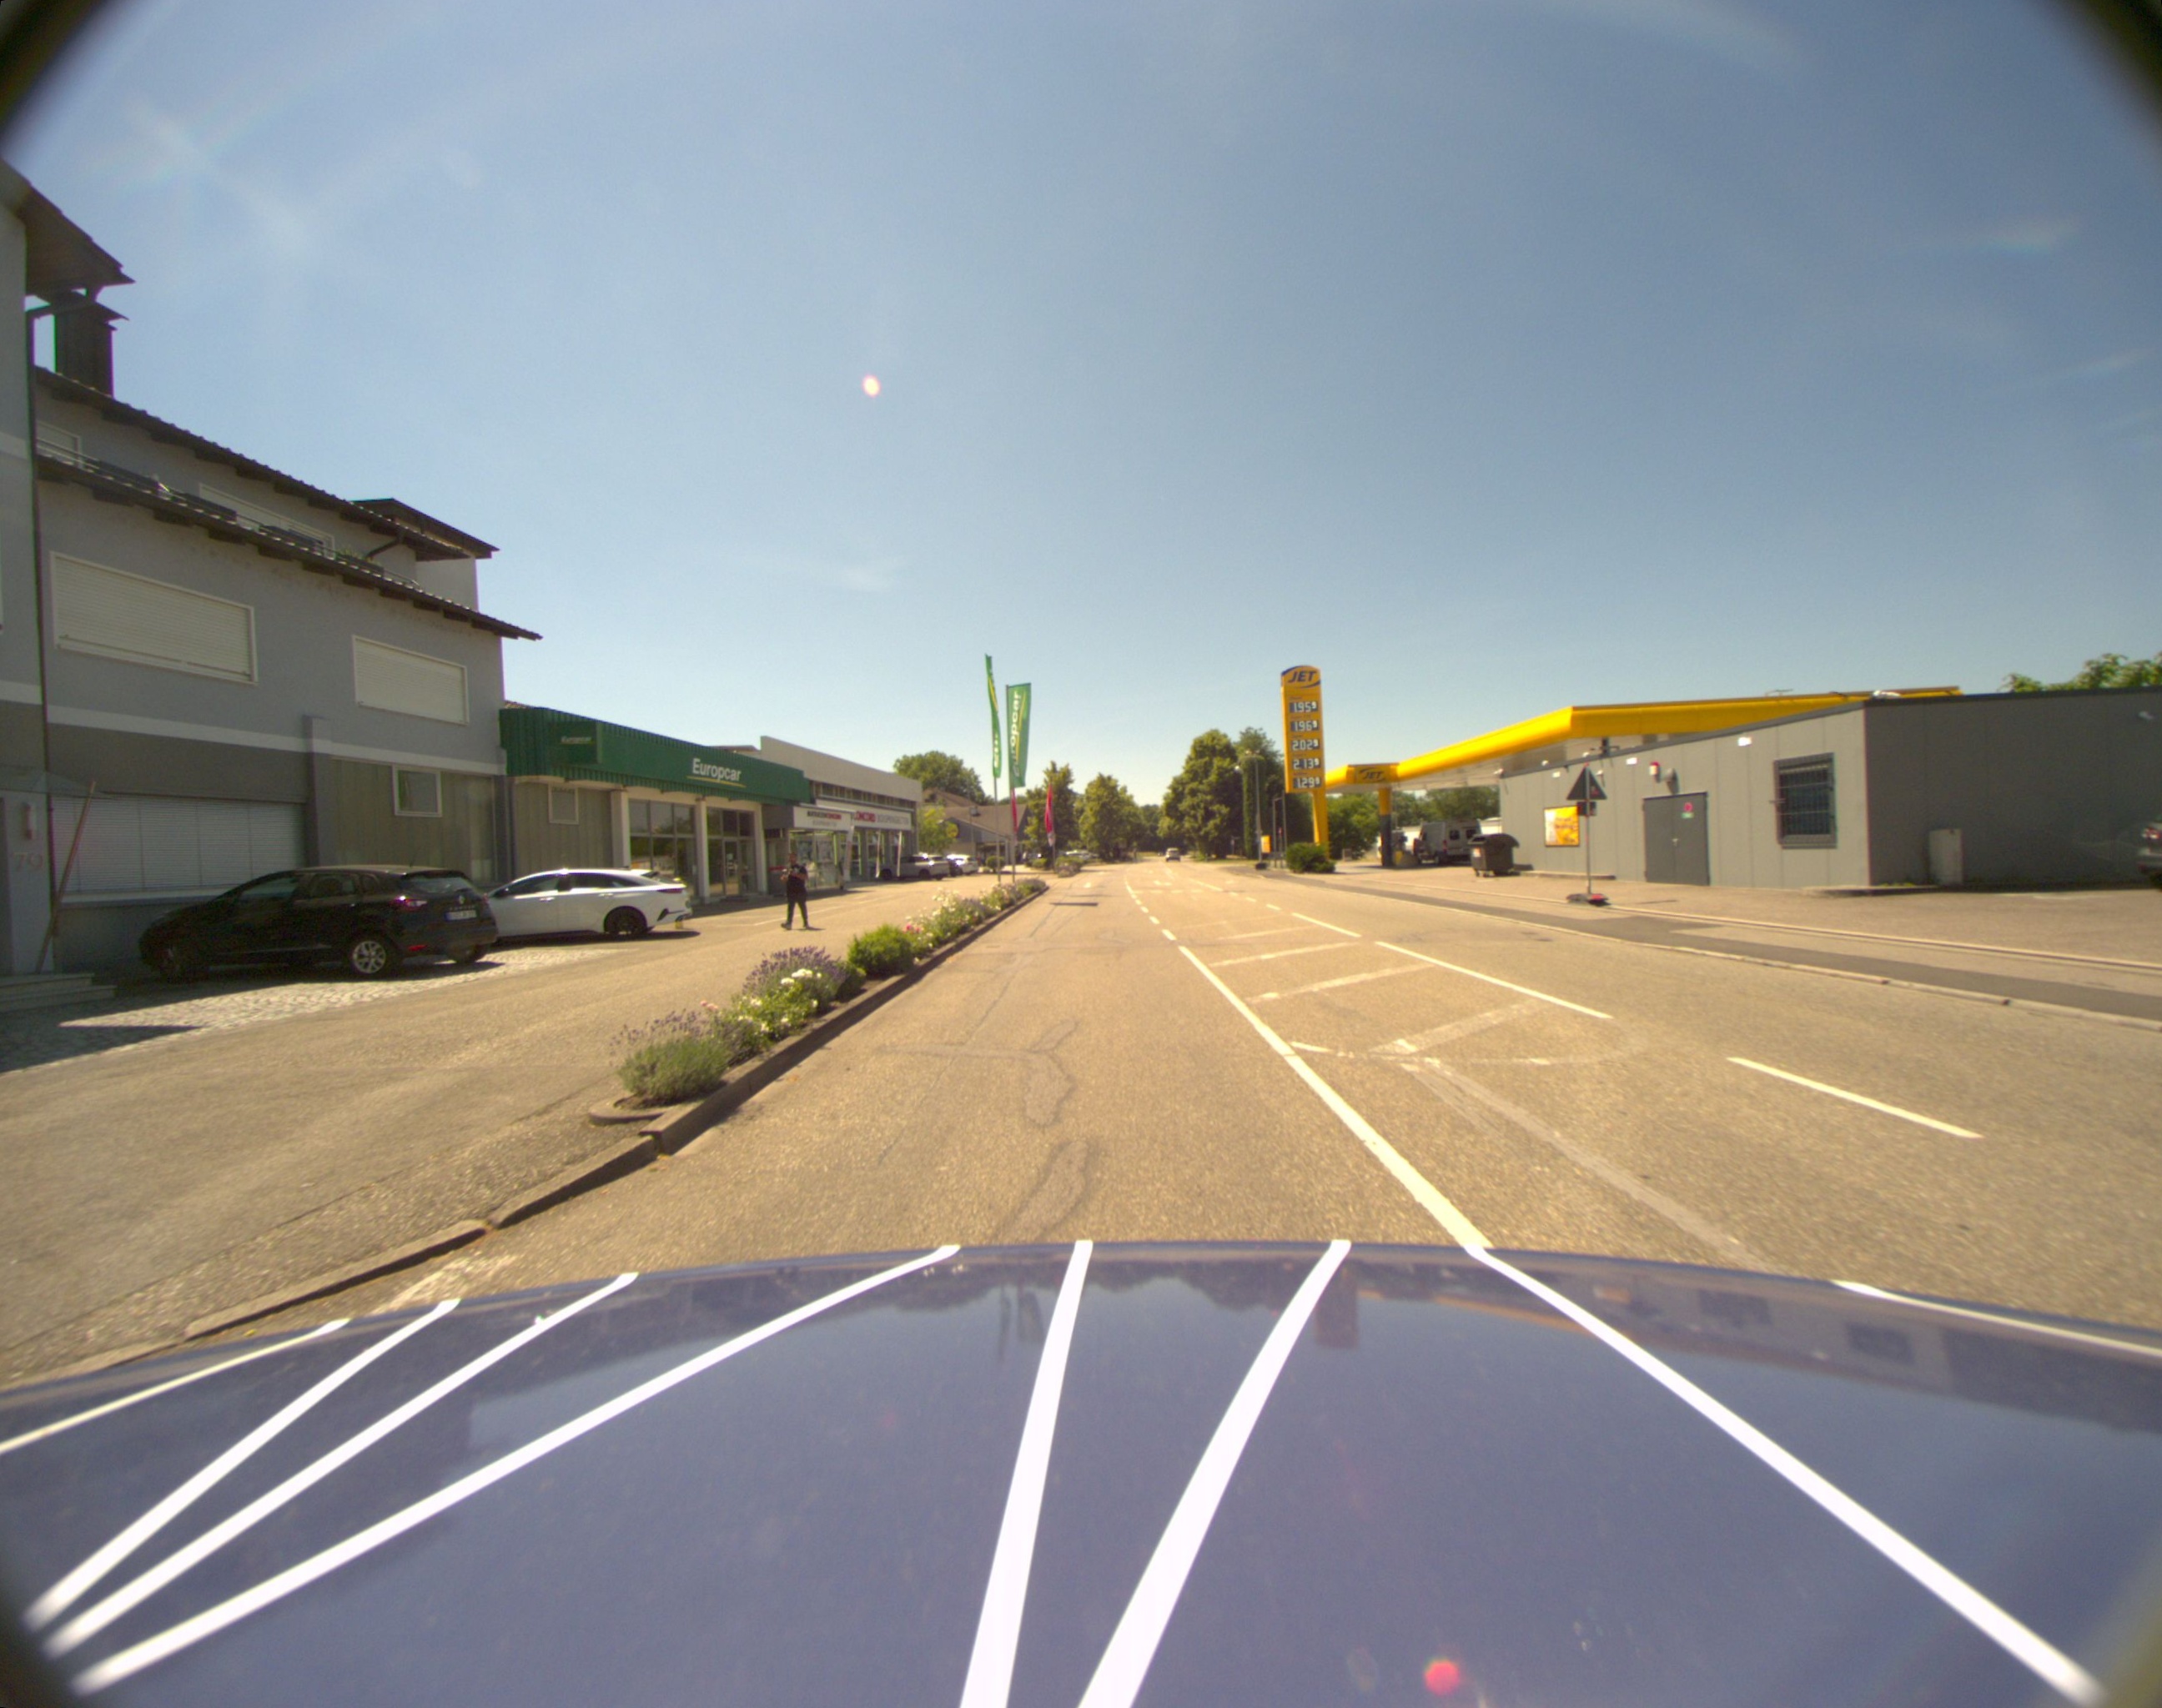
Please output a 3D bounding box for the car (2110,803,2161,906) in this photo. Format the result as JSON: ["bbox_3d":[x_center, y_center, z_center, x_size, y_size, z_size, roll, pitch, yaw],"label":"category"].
[{"bbox_3d":[18.601,-0.067,11.286,3.996,1.575,1.754,-2,1,4],"label":"car"}]

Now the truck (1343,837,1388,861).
[{"bbox_3d":[36.158,-0.588,97.056,2.691,2.780,10.162,-3,0,5],"label":"truck"}]

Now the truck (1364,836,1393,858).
[{"bbox_3d":[42.379,-1.047,108.398,2.437,2.911,8.170,-3,0,12],"label":"truck"}]

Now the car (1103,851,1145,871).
[{"bbox_3d":[4.204,0.663,74.048,3.996,1.780,1.776,-2,1,3],"label":"car"}]

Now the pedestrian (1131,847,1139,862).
[{"bbox_3d":[6.392,0.057,89.616,0.730,1.779,0.621,-2,2,15],"label":"pedestrian"}]

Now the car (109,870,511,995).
[{"bbox_3d":[-11.026,1.075,11.099,3.997,1.541,1.797,-1,1,1],"label":"car"}]

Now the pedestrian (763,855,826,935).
[{"bbox_3d":[-6.206,0.870,16.528,0.842,1.632,1.010,-2,1,6],"label":"pedestrian"}]

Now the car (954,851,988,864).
[{"bbox_3d":[-13.052,0.401,89.996,3.604,1.409,1.672,-3,1,6],"label":"car"}]

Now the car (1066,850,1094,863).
[{"bbox_3d":[-0.149,0.298,95.267,3.405,1.497,1.582,-2,0,3],"label":"car"}]

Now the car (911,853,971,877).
[{"bbox_3d":[-10.063,0.779,54.553,3.859,1.524,1.680,-2,2,20],"label":"car"}]

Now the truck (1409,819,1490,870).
[{"bbox_3d":[20.861,-0.567,43.378,2.237,2.583,6.735,-2,1,9],"label":"truck"}]

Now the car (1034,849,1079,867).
[{"bbox_3d":[-2.643,0.410,82.666,4.522,1.658,1.895,-3,1,10],"label":"car"}]

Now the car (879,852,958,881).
[{"bbox_3d":[-10.538,0.803,49.240,4.586,1.632,2.002,-2,1,21],"label":"car"}]

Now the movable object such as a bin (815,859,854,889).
[{"bbox_3d":[-11.725,0.934,36.162,1.566,1.414,0.702,0,1,9],"label":"movable object such as a bin"}]

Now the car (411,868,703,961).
[{"bbox_3d":[-10.048,1.100,15.057,4.361,1.363,1.952,-3,1,-21],"label":"car"}]

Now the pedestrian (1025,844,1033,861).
[{"bbox_3d":[-6.352,-0.187,93.483,0.784,2.002,0.803,-2,2,5],"label":"pedestrian"}]

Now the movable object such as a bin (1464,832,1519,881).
[{"bbox_3d":[13.802,0.080,25.611,0.954,1.508,1.428,-7,0,2],"label":"movable object such as a bin"}]

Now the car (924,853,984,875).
[{"bbox_3d":[-9.458,0.769,56.686,3.992,1.452,1.807,-2,1,17],"label":"car"}]

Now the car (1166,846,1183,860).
[{"bbox_3d":[12.045,-0.117,97.726,1.972,1.663,4.251,-2,0,8],"label":"car"}]
